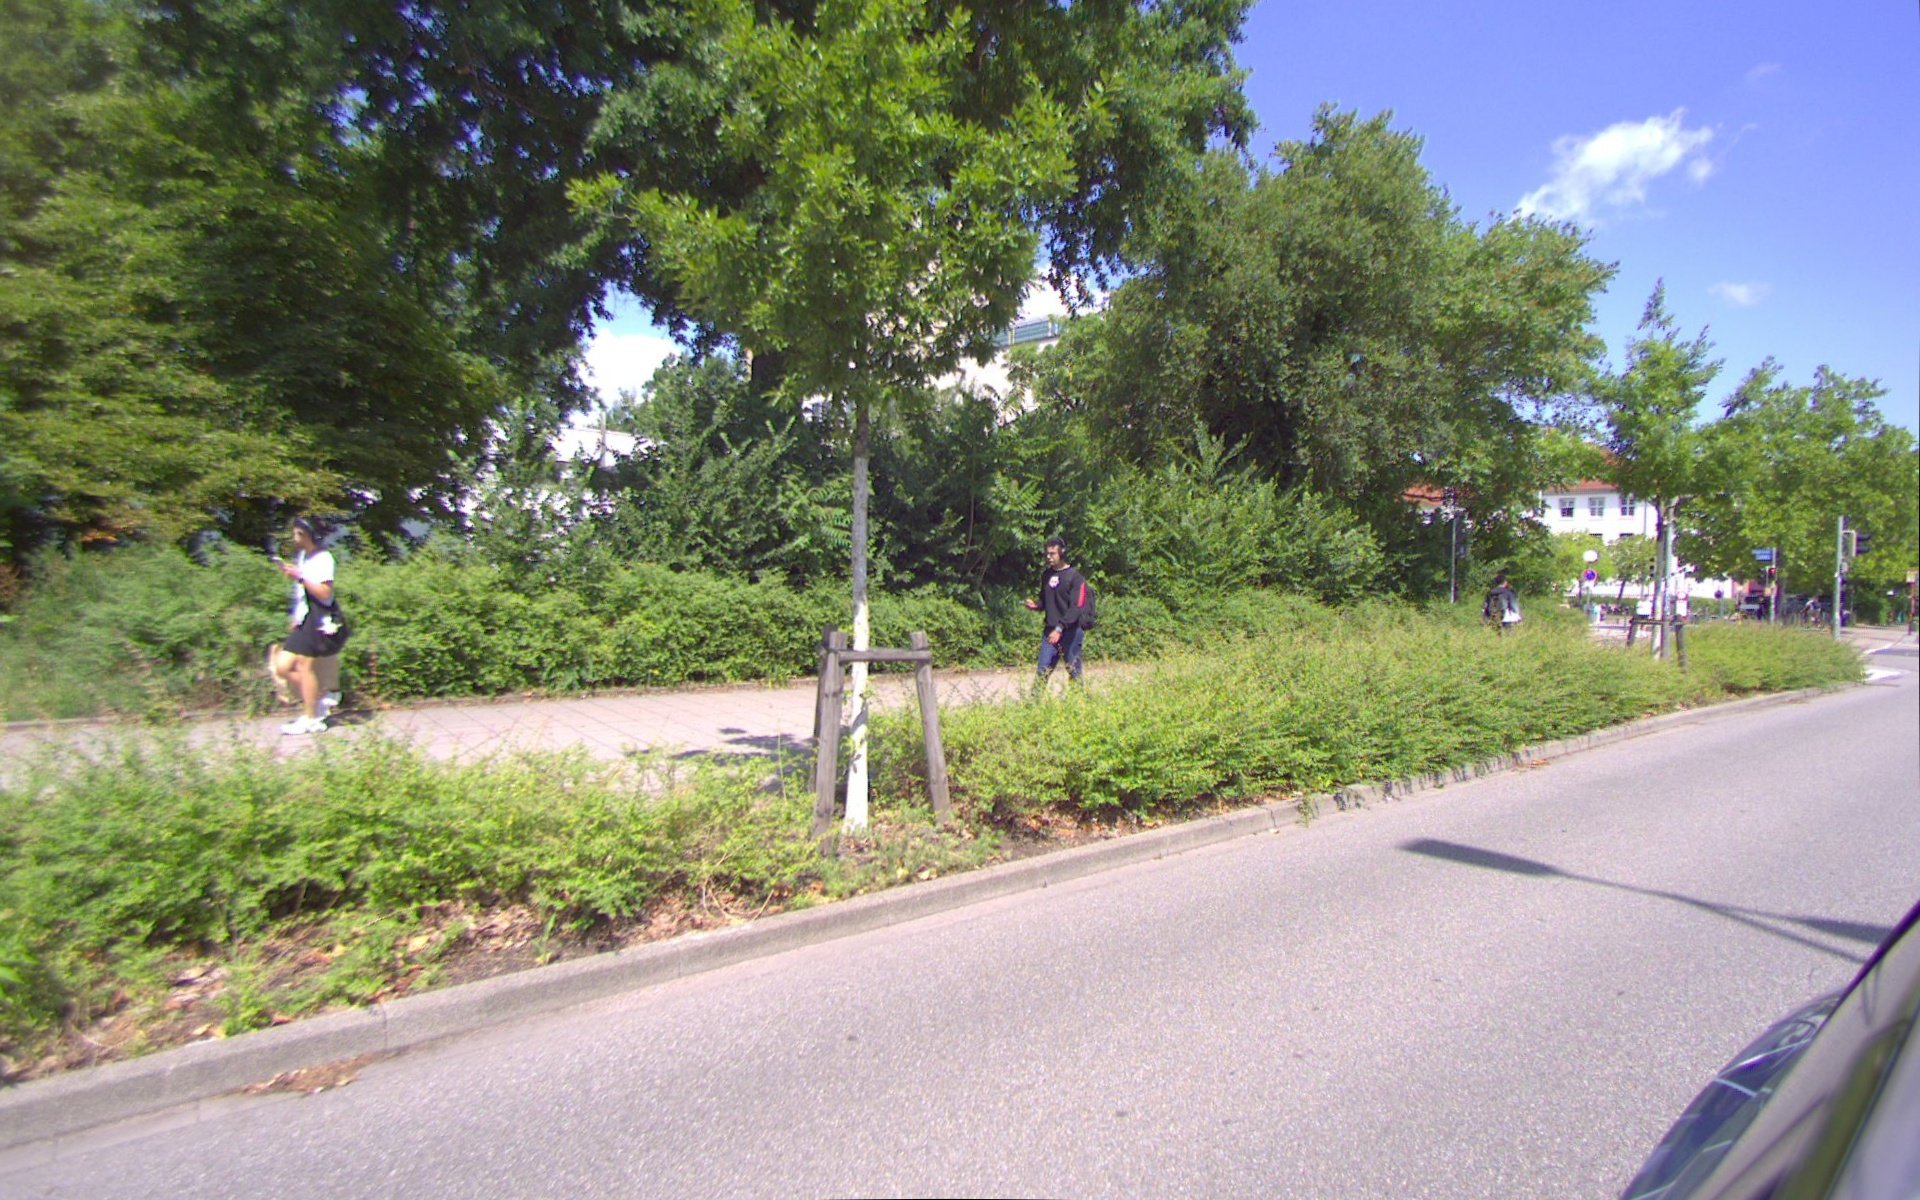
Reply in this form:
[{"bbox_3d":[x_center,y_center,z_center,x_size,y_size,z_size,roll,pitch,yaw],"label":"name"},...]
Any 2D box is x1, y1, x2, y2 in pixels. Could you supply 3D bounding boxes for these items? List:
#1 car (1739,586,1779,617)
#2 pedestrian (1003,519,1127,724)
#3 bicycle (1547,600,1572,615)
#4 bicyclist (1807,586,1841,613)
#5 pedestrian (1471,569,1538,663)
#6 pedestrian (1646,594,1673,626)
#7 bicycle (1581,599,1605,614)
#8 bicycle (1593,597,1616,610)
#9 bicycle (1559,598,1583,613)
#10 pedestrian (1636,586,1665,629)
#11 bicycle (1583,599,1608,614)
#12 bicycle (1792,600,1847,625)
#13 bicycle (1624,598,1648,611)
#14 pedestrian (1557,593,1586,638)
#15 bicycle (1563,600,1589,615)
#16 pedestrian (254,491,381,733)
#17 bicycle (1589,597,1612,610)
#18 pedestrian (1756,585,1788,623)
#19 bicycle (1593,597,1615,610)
[{"bbox_3d":[55.773,0.095,70.575,1.992,2.080,4.166,2,1,41],"label":"car"},{"bbox_3d":[0.949,0.171,9.156,0.822,1.743,0.718,0,1,-39],"label":"pedestrian"},{"bbox_3d":[38.989,0.489,65.843,1.368,0.963,0.346,2,1,44],"label":"bicycle"},{"bbox_3d":[47.646,-0.056,55.804,0.951,1.462,1.079,1,1,-16],"label":"bicyclist"},{"bbox_3d":[10.423,0.294,19.360,0.913,1.743,0.815,0,1,-39],"label":"pedestrian"},{"bbox_3d":[35.584,0.500,51.492,1.056,1.617,0.960,1,1,35],"label":"pedestrian"},{"bbox_3d":[43.476,0.459,69.520,1.368,0.963,0.346,2,1,44],"label":"bicycle"},{"bbox_3d":[49.824,0.285,78.203,1.424,0.963,0.346,2,1,44],"label":"bicycle"},{"bbox_3d":[43.240,0.380,71.621,1.408,0.963,0.346,2,1,44],"label":"bicycle"},{"bbox_3d":[30.988,0.322,45.403,0.956,1.896,0.876,0,1,-45],"label":"pedestrian"},{"bbox_3d":[43.945,0.438,69.968,1.368,0.963,0.346,2,1,44],"label":"bicycle"},{"bbox_3d":[47.588,0.673,56.045,0.866,1.267,2.170,1,1,-16],"label":"bicycle"},{"bbox_3d":[51.421,0.344,76.980,1.424,0.963,0.346,2,1,44],"label":"bicycle"},{"bbox_3d":[22.891,0.586,37.869,0.632,1.646,0.636,1,1,-5],"label":"pedestrian"},{"bbox_3d":[40.745,0.479,66.936,1.368,0.963,0.346,2,1,44],"label":"bicycle"},{"bbox_3d":[-4.959,0.080,7.803,0.733,1.743,0.724,0,1,-39],"label":"pedestrian"},{"bbox_3d":[49.027,0.294,77.504,1.424,0.963,0.346,2,1,44],"label":"bicycle"},{"bbox_3d":[41.933,0.198,52.267,0.953,1.950,1.033,1,1,-32],"label":"pedestrian"},{"bbox_3d":[49.557,0.290,77.893,1.424,0.963,0.346,2,1,44],"label":"bicycle"}]
